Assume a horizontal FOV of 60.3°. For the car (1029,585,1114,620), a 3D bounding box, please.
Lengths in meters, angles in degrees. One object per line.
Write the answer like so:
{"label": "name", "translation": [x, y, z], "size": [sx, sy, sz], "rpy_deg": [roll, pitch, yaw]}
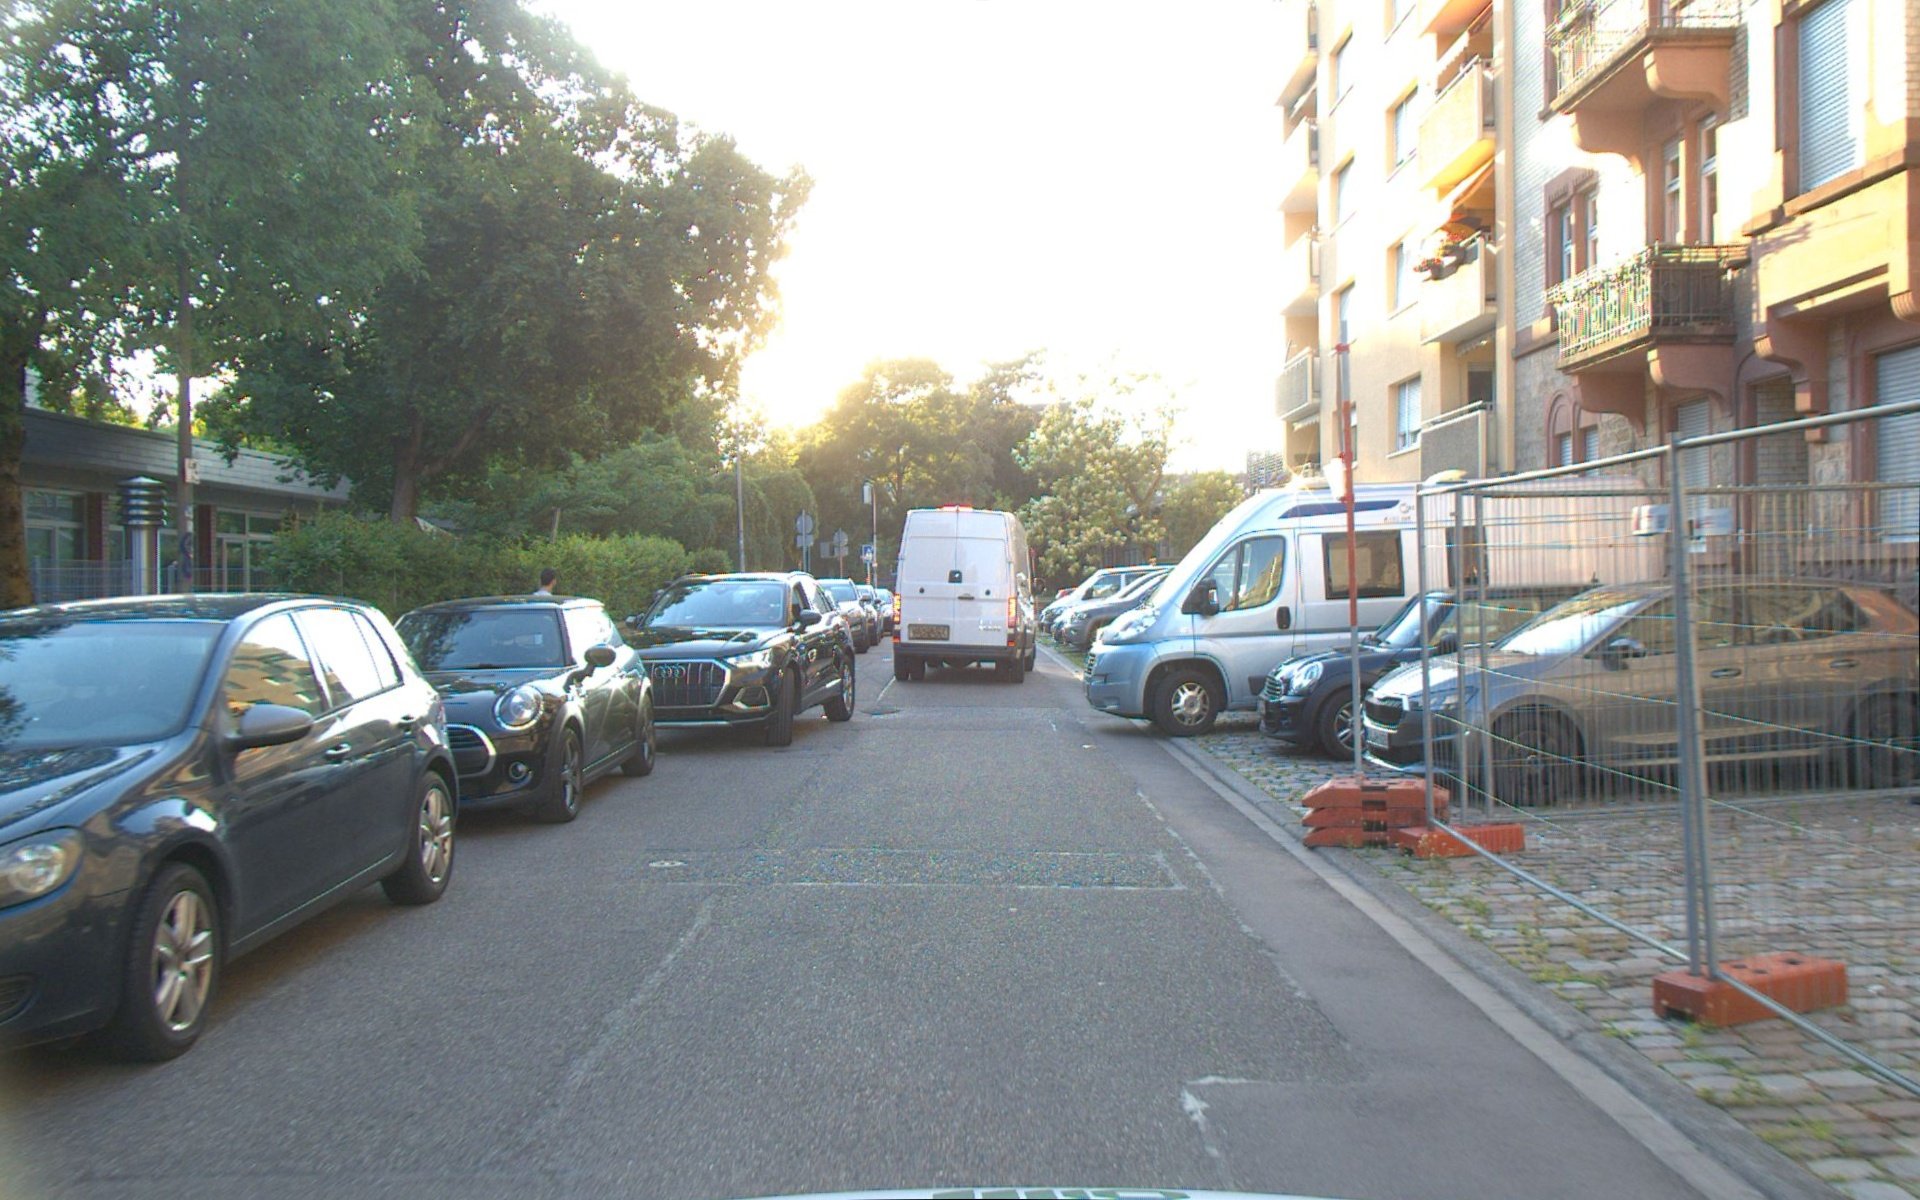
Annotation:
{"label": "car", "translation": [5.365, 0.100, 80.038], "size": [3.908, 1.646, 1.999], "rpy_deg": [0, 0, -4]}

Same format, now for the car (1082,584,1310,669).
{"label": "car", "translation": [4.544, 0.494, 32.241], "size": [4.150, 1.450, 1.719], "rpy_deg": [-2, 0, -1]}

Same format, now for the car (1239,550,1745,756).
{"label": "car", "translation": [4.567, 0.457, 14.640], "size": [3.854, 1.512, 1.787], "rpy_deg": [-3, -1, 1]}

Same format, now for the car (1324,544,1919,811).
{"label": "car", "translation": [4.859, 0.482, 11.909], "size": [3.909, 1.542, 2.018], "rpy_deg": [-3, 0, -4]}

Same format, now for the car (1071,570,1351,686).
{"label": "car", "translation": [3.810, 0.408, 25.493], "size": [3.909, 1.479, 1.834], "rpy_deg": [-3, 0, -4]}

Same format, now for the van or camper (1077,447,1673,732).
{"label": "van or camper", "translation": [4.242, -0.106, 17.619], "size": [5.808, 2.818, 2.109], "rpy_deg": [0, 0, -1]}

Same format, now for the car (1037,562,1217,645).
{"label": "car", "translation": [4.458, 0.081, 44.671], "size": [4.610, 2.183, 2.000], "rpy_deg": [0, 0, -1]}

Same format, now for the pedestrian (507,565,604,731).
{"label": "pedestrian", "translation": [-4.627, 0.536, 18.963], "size": [0.919, 1.862, 0.786], "rpy_deg": [0, 0, -1]}

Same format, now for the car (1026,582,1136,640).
{"label": "car", "translation": [4.354, 0.374, 59.962], "size": [3.904, 2.049, 2.001], "rpy_deg": [0, 0, 2]}

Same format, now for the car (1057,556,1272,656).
{"label": "car", "translation": [4.576, 0.132, 37.565], "size": [4.610, 2.183, 2.000], "rpy_deg": [0, 0, -1]}

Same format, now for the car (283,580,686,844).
{"label": "car", "translation": [-3.158, 0.656, 11.826], "size": [1.603, 1.504, 3.993], "rpy_deg": [-2, 0, 1]}

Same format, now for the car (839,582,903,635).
{"label": "car", "translation": [-2.875, 0.260, 54.125], "size": [1.953, 1.646, 3.999], "rpy_deg": [0, 0, -1]}

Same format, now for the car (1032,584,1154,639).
{"label": "car", "translation": [4.357, 0.371, 54.725], "size": [3.905, 1.758, 2.000], "rpy_deg": [0, 0, 1]}

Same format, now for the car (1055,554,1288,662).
{"label": "car", "translation": [4.374, 0.149, 34.681], "size": [4.610, 2.183, 2.000], "rpy_deg": [0, 0, -1]}

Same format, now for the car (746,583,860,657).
{"label": "car", "translation": [-3.126, 0.371, 33.663], "size": [1.953, 1.422, 4.000], "rpy_deg": [0, 0, 0]}

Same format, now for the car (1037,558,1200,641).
{"label": "car", "translation": [4.443, -0.010, 46.804], "size": [4.404, 2.269, 2.032], "rpy_deg": [0, 0, -1]}

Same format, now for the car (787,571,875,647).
{"label": "car", "translation": [-3.010, 0.184, 38.885], "size": [1.954, 1.691, 3.997], "rpy_deg": [0, 0, -4]}

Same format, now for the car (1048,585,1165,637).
{"label": "car", "translation": [5.069, 0.367, 57.675], "size": [3.905, 1.758, 2.000], "rpy_deg": [0, 0, 1]}

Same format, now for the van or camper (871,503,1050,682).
{"label": "van or camper", "translation": [0.168, -0.126, 27.447], "size": [2.402, 2.591, 6.087], "rpy_deg": [1, 0, 5]}

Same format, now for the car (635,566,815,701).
{"label": "car", "translation": [-3.205, 0.422, 23.333], "size": [1.746, 1.659, 4.001], "rpy_deg": [-3, 0, 2]}

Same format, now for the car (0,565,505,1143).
{"label": "car", "translation": [-3.234, 0.687, 6.536], "size": [1.680, 1.522, 4.360], "rpy_deg": [-2, 0, -1]}

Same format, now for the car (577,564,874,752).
{"label": "car", "translation": [-2.159, 0.498, 16.601], "size": [1.766, 1.596, 4.569], "rpy_deg": [-1, 0, 7]}

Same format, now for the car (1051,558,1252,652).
{"label": "car", "translation": [4.570, 0.115, 39.993], "size": [4.610, 2.183, 2.000], "rpy_deg": [0, 0, -1]}

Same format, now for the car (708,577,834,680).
{"label": "car", "translation": [-3.184, 0.450, 28.564], "size": [1.819, 1.582, 4.098], "rpy_deg": [-2, 0, -3]}

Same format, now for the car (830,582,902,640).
{"label": "car", "translation": [-2.715, 0.296, 48.417], "size": [1.953, 1.646, 3.999], "rpy_deg": [0, 0, -1]}

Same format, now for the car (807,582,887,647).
{"label": "car", "translation": [-2.964, 0.347, 44.093], "size": [1.953, 1.646, 3.999], "rpy_deg": [0, 0, -1]}
